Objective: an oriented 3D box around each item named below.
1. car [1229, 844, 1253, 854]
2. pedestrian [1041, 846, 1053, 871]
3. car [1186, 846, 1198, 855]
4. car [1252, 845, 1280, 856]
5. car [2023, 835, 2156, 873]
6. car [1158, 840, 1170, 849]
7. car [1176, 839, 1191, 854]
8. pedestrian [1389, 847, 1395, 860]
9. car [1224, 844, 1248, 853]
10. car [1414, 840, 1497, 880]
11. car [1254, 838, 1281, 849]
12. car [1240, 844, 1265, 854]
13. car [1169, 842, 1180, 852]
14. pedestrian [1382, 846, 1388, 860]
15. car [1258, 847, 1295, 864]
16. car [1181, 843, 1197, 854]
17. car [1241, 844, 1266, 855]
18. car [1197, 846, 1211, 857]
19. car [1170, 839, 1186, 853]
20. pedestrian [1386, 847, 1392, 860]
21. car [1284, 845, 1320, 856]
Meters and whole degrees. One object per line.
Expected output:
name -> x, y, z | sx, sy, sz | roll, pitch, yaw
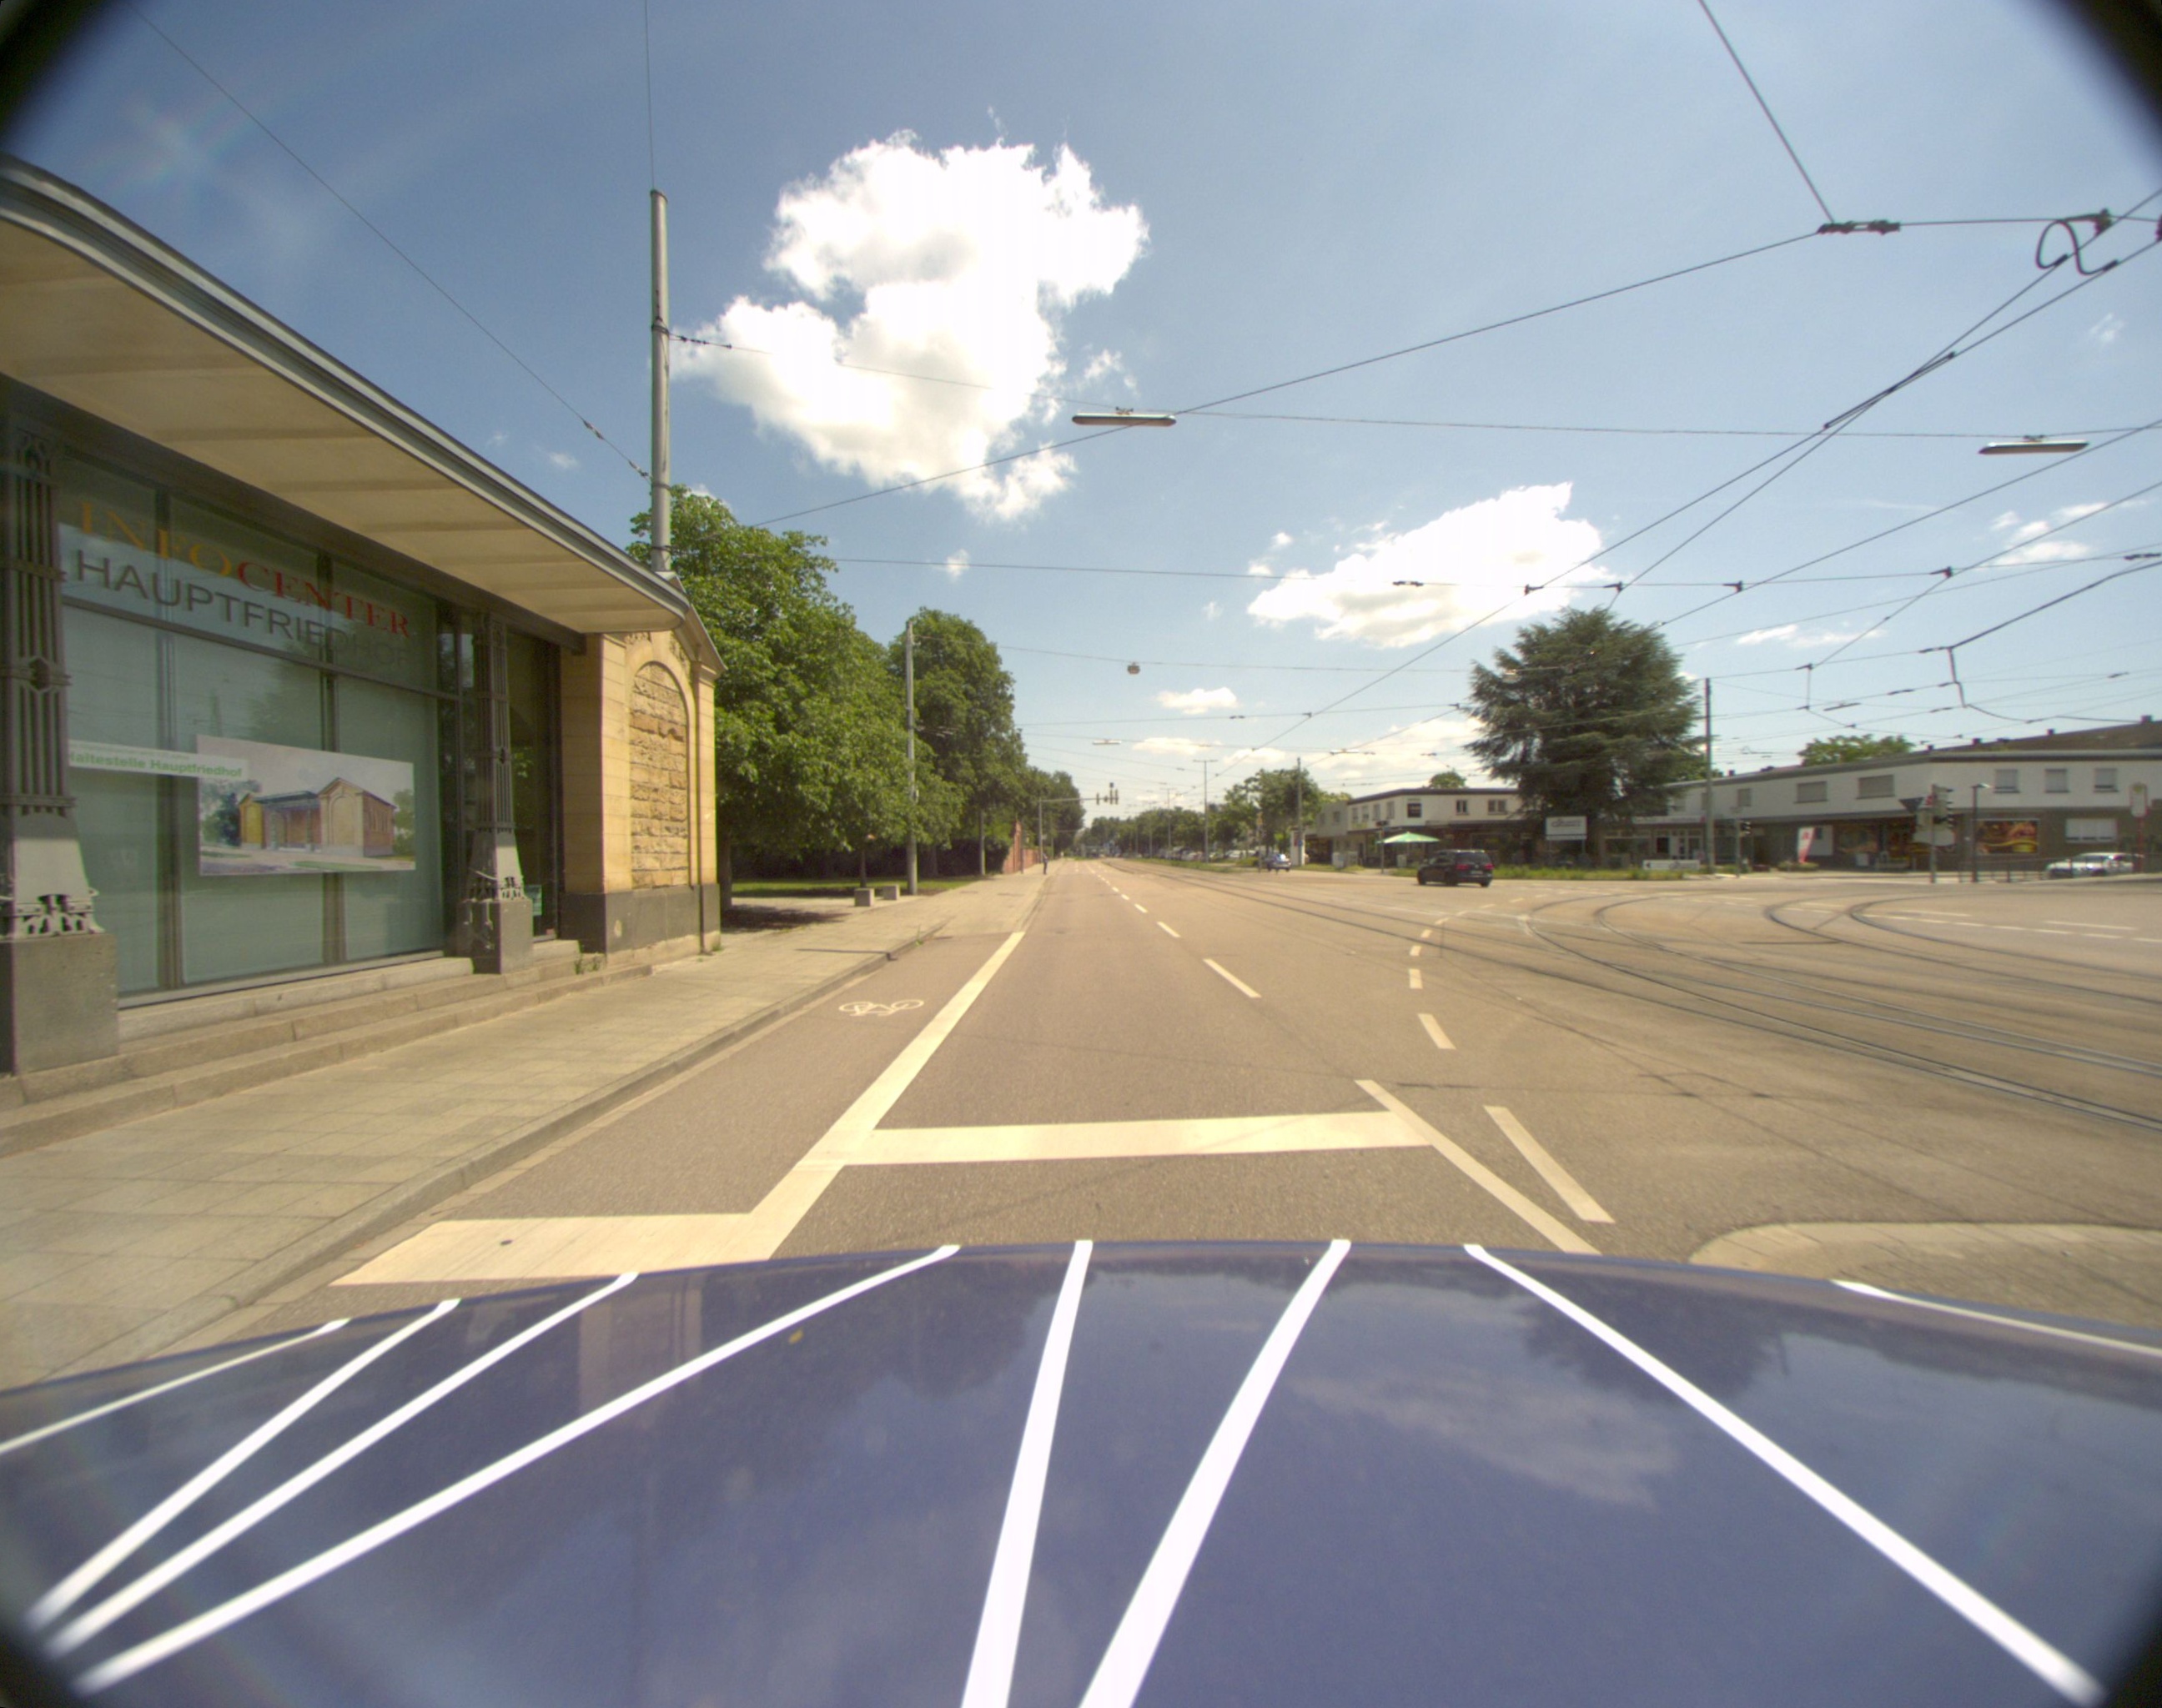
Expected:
car -> 29.811, -0.934, 141.809 | 3.997, 1.726, 1.803 | 1, 1, 0
pedestrian -> -2.526, 0.356, 56.148 | 0.767, 1.841, 0.717 | 0, 1, -9
car -> 19.169, -0.591, 131.028 | 1.503, 1.531, 4.358 | -2, 1, 1
car -> 29.935, -0.585, 123.048 | 3.997, 1.726, 1.879 | 0, 1, 0
car -> 49.422, -0.031, 37.311 | 3.851, 1.715, 1.899 | 1, 1, 1
car -> 19.532, -2.199, 179.093 | 2.072, 2.089, 4.487 | -2, 1, -2
car -> 19.387, -1.473, 143.648 | 2.156, 2.597, 5.032 | -2, 1, 0
pedestrian -> 28.936, -0.055, 70.729 | 0.319, 1.261, 0.501 | 0, 1, 1
car -> 30.631, -1.144, 150.135 | 4.199, 1.726, 1.803 | 1, 1, 0
car -> 16.656, 0.252, 34.047 | 1.727, 1.673, 4.279 | -1, 1, 2
car -> 43.758, -2.432, 178.552 | 5.698, 2.467, 2.259 | 0, 1, -3
car -> 30.739, -0.882, 136.448 | 3.997, 1.726, 1.902 | 0, 1, 0
car -> 19.663, -1.547, 160.336 | 1.794, 1.928, 4.648 | -2, 1, 0
pedestrian -> 29.176, -0.092, 72.939 | 0.354, 1.261, 0.532 | 0, 1, 1
car -> 16.737, 0.099, 65.195 | 1.999, 1.463, 4.400 | 0, 1, -1
car -> 19.572, -0.955, 137.753 | 2.156, 1.827, 4.887 | -2, 1, 0
car -> 30.333, -0.834, 133.869 | 3.997, 1.726, 1.803 | 1, 1, 0
car -> 19.564, -0.387, 121.226 | 1.580, 1.531, 4.550 | -2, 1, 1
car -> 19.320, -1.681, 151.515 | 2.156, 2.597, 6.702 | -2, 1, -1
pedestrian -> 29.080, -0.064, 71.783 | 0.345, 1.261, 0.528 | 0, 1, 2
car -> 30.521, -0.458, 104.919 | 4.484, 1.426, 1.906 | -1, 1, 2
